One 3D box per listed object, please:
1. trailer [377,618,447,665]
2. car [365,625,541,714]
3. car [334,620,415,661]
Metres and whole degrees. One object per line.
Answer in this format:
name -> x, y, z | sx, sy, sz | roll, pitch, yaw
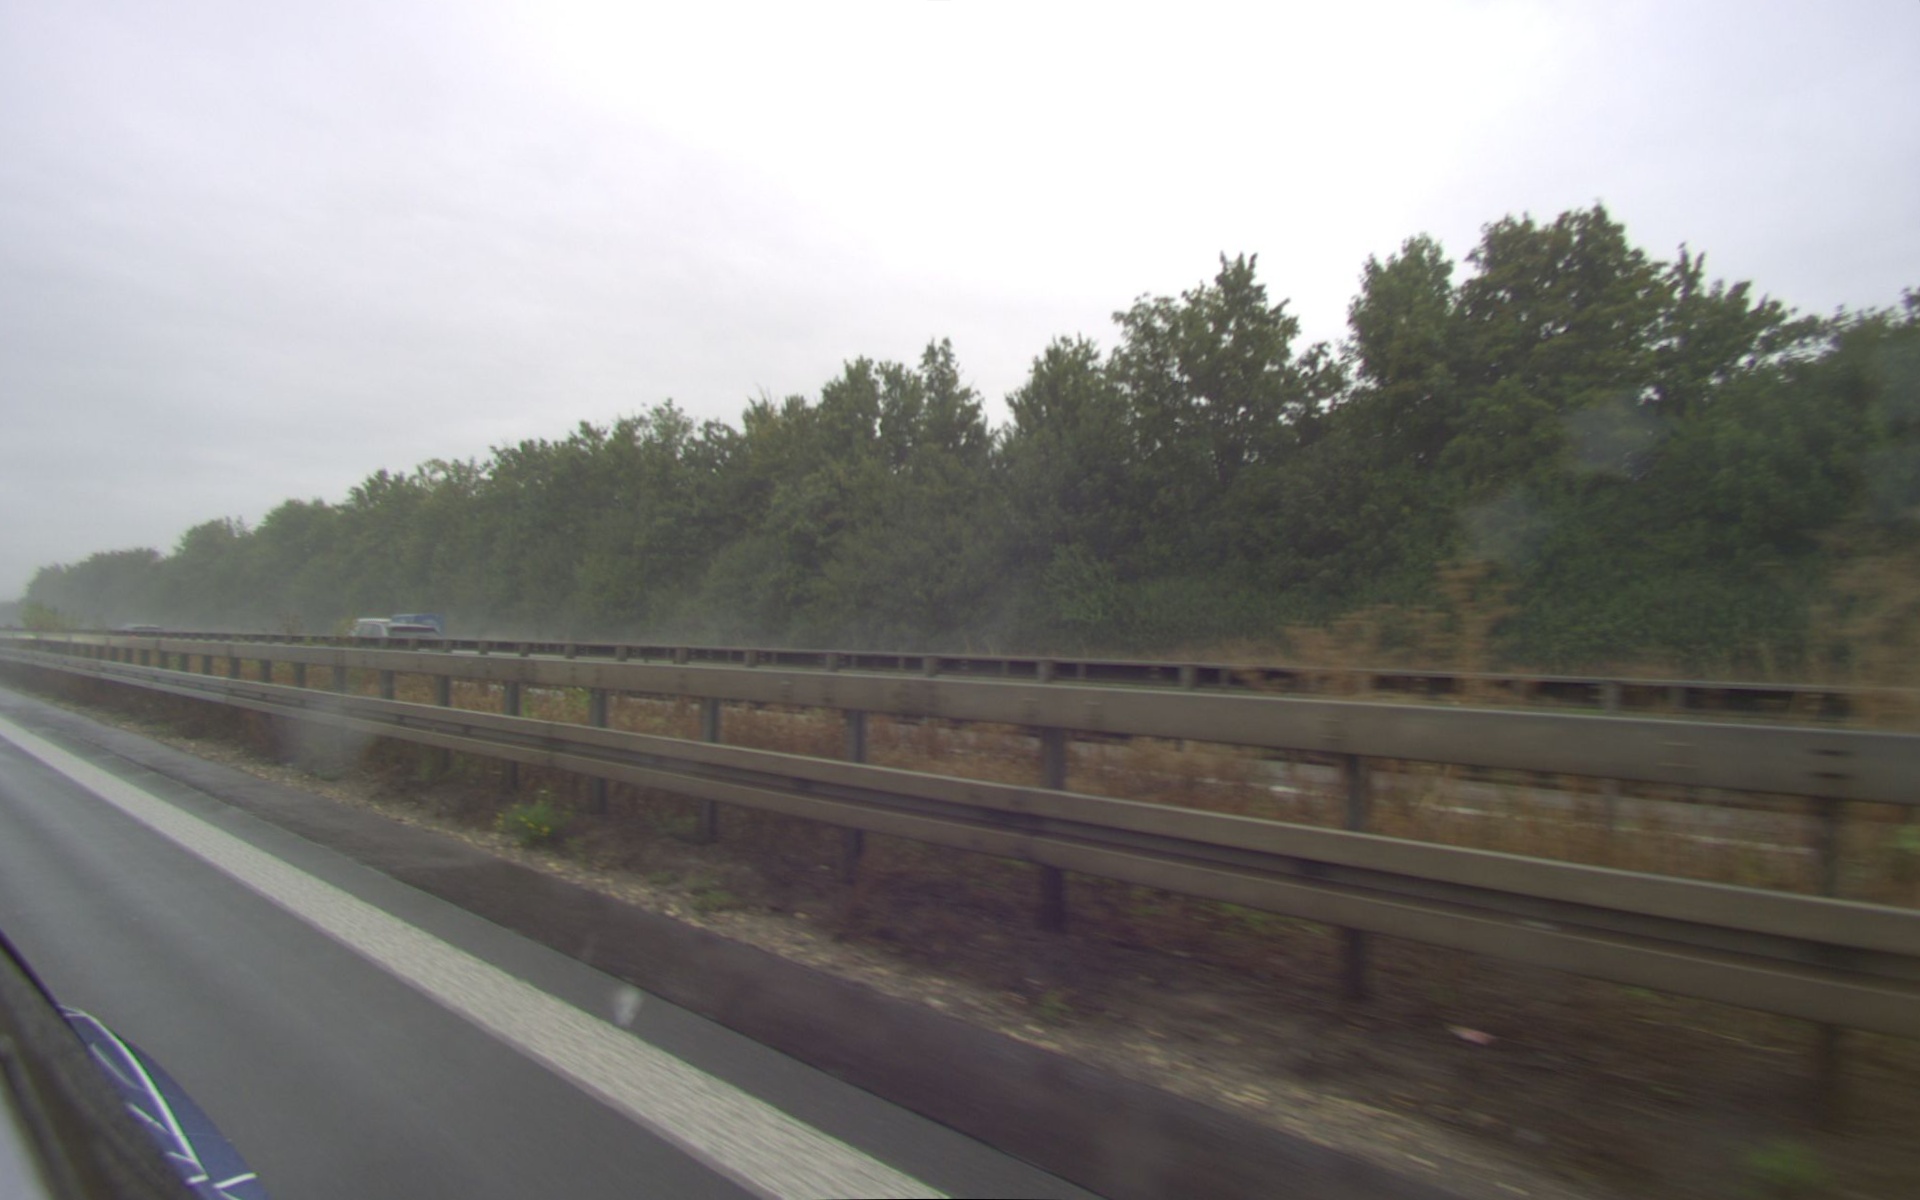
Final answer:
trailer -> -24.930, 1.896, 45.981 | 4.015, 2.029, 1.400 | -3, -1, 40
car -> -12.587, 1.608, 24.965 | 5.071, 1.873, 1.974 | 0, 0, 39
car -> -28.287, 1.929, 48.839 | 4.720, 1.828, 1.862 | -1, -1, 40
